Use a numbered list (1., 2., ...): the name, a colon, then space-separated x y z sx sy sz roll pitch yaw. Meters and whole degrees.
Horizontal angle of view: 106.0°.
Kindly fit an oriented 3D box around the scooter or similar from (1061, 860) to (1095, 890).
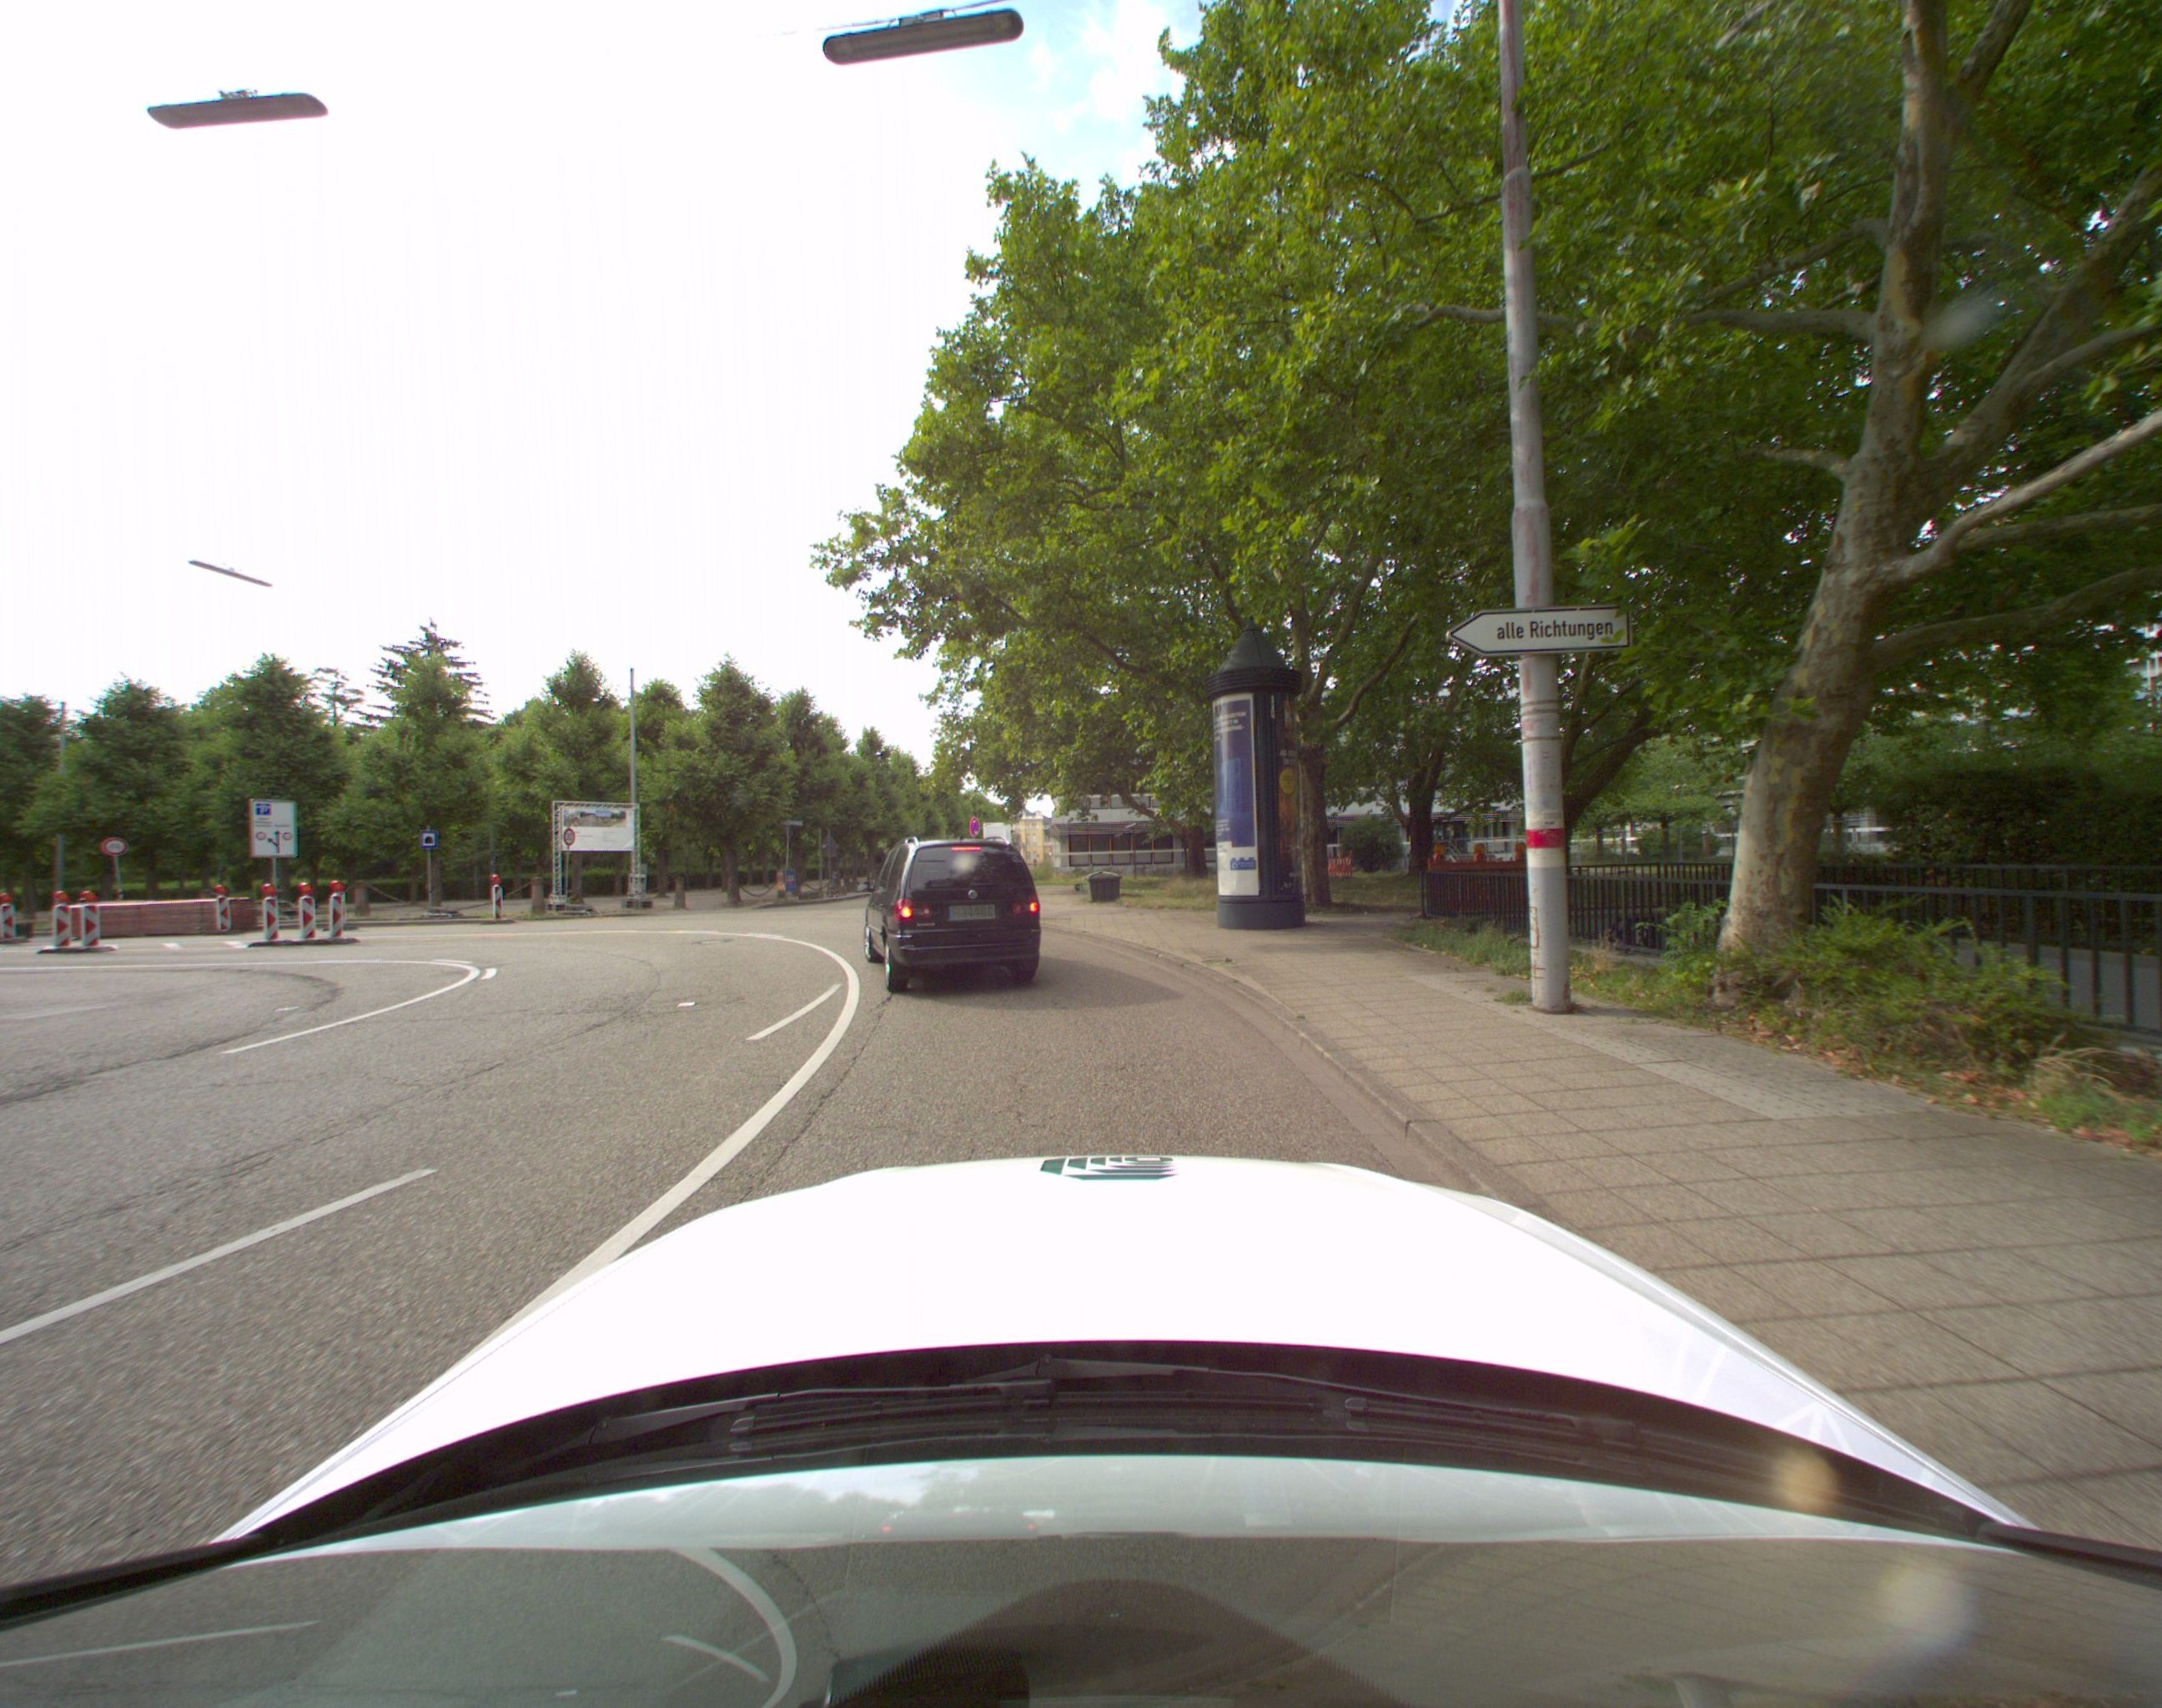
1. scooter or similar: -0.132 0.918 35.125 1.447 1.269 0.569 0 0 -5

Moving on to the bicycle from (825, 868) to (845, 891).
1. bicycle: -12.884 1.317 42.677 0.954 1.110 2.564 0 0 -17

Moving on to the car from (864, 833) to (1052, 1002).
1. car: -1.808 0.674 10.705 1.798 1.708 4.106 -2 0 -17
